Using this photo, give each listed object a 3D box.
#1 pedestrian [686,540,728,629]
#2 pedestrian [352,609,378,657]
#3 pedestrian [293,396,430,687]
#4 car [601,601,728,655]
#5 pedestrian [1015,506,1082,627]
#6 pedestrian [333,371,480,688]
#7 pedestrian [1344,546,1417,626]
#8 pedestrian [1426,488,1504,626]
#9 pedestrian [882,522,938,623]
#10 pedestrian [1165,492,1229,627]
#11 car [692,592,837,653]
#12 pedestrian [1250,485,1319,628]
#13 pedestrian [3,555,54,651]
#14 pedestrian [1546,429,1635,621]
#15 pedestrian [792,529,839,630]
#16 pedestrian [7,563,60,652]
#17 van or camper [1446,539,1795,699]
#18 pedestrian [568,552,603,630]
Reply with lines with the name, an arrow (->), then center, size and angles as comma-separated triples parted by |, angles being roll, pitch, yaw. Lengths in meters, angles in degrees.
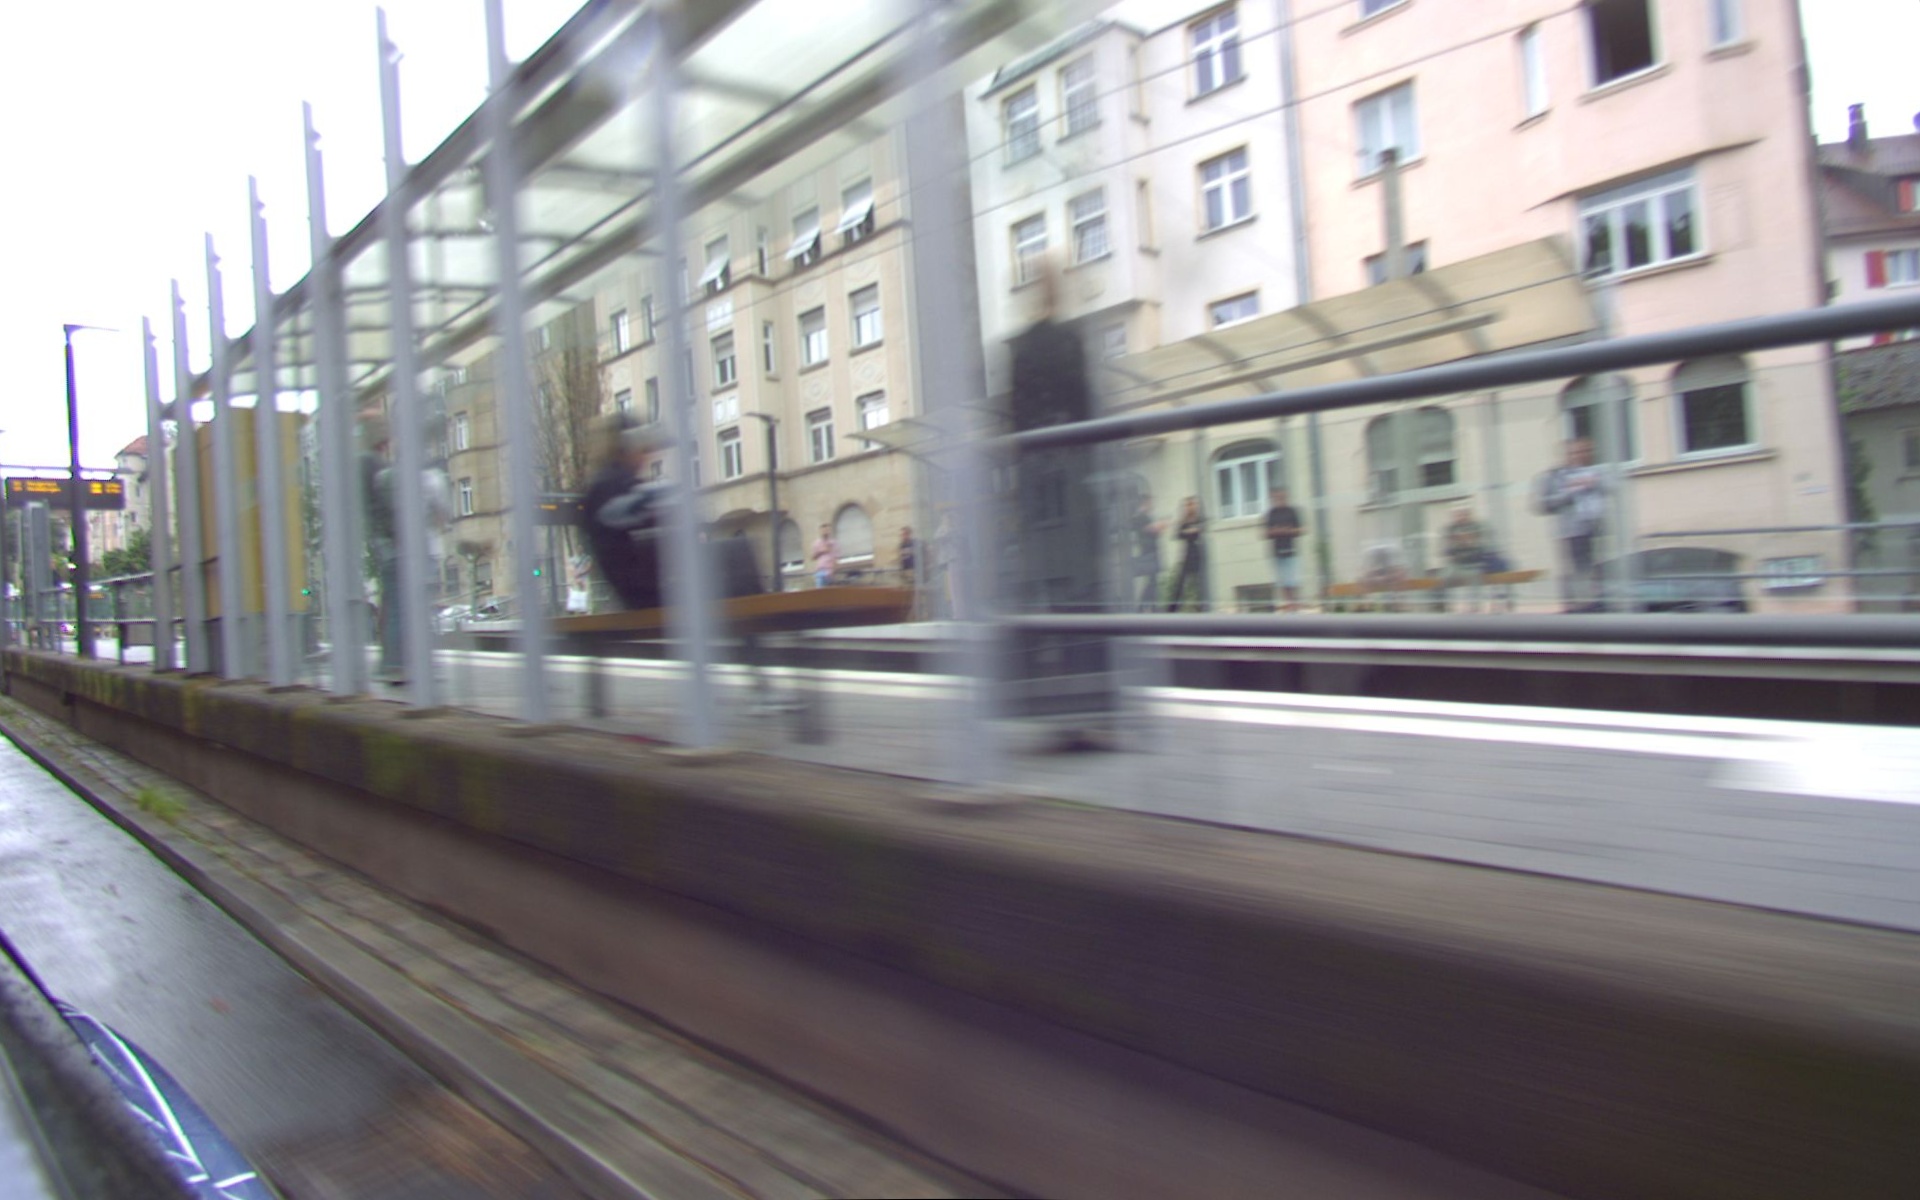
pedestrian -> -5.337, -0.316, 21.364 | 0.762, 1.852, 0.510 | -1, -2, 42
pedestrian -> -20.633, 1.134, 35.091 | 0.621, 1.605, 0.618 | -2, -1, 44
pedestrian -> -4.120, -0.374, 6.965 | 0.711, 1.879, 0.583 | -2, 0, 41
car -> -9.818, 0.878, 33.485 | 4.533, 1.544, 1.972 | 0, 3, 43
pedestrian -> 1.265, -0.454, 14.501 | 0.762, 1.678, 0.587 | -1, -2, 42
pedestrian -> -3.551, -0.419, 6.490 | 0.711, 1.895, 0.583 | -2, 0, 41
pedestrian -> 4.757, -0.146, 11.443 | 0.614, 0.878, 0.544 | -1, -2, 42
pedestrian -> 5.394, -0.433, 10.816 | 0.614, 1.424, 0.544 | -1, -2, 42
pedestrian -> -0.853, -0.446, 17.265 | 0.762, 1.678, 0.587 | -1, -2, 42
pedestrian -> 3.034, -0.490, 12.954 | 0.591, 1.678, 0.587 | -1, -2, 42
car -> -5.780, 0.676, 29.562 | 4.536, 1.635, 1.901 | -2, -2, 44
pedestrian -> 3.933, -0.506, 12.268 | 0.614, 1.678, 0.544 | -1, -2, 42
pedestrian -> -17.880, 0.066, 19.423 | 0.847, 1.797, 0.643 | -2, -1, 43
pedestrian -> 5.993, -0.675, 9.619 | 0.614, 1.754, 0.544 | -1, -2, 42
pedestrian -> -2.711, -0.371, 18.991 | 0.762, 1.852, 0.510 | -1, -2, 42
pedestrian -> -16.841, 0.135, 18.399 | 0.684, 1.574, 0.643 | -2, -1, 43
van or camper -> 9.592, 0.306, 14.867 | 3.999, 2.029, 1.972 | -2, -2, 42
pedestrian -> -9.067, -0.209, 24.507 | 0.598, 1.864, 0.555 | -1, -2, 42
